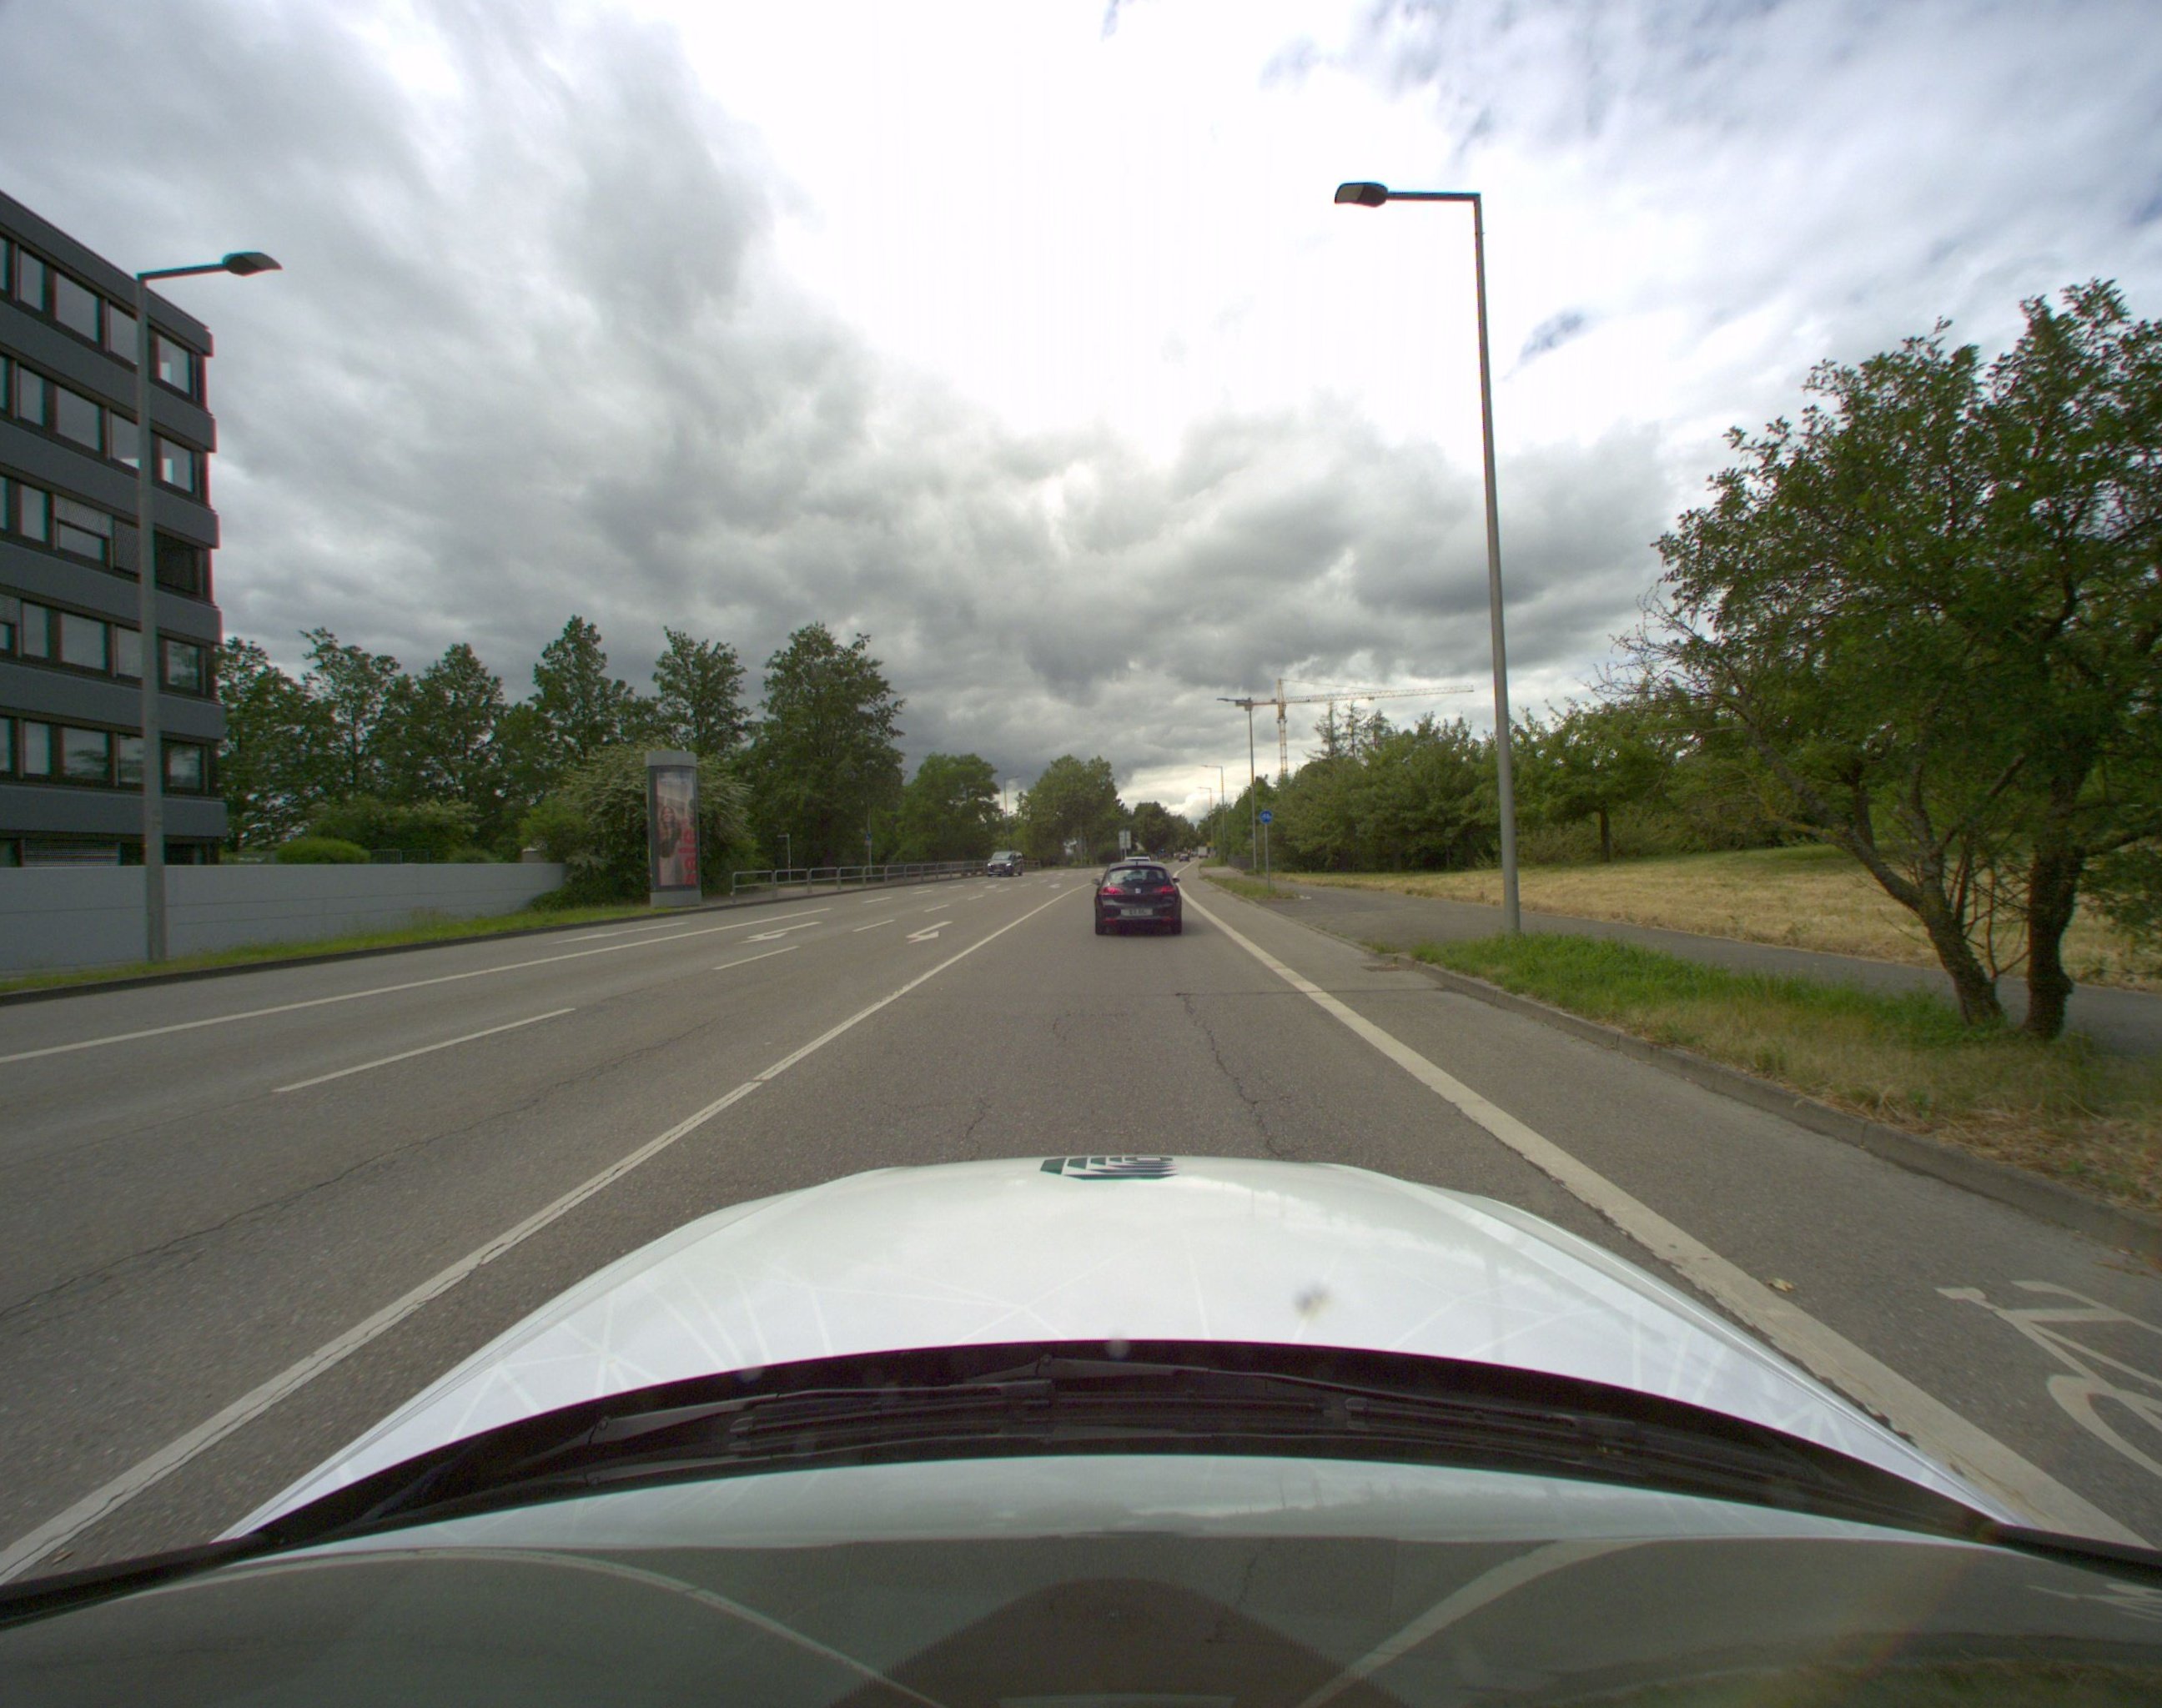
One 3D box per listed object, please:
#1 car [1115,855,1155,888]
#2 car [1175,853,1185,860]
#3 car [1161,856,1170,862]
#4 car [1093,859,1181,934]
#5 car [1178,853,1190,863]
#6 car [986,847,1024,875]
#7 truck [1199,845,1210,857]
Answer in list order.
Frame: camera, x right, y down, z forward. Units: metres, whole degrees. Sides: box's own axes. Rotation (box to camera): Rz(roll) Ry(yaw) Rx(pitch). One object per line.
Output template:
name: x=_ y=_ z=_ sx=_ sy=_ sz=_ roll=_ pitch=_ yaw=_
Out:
car: x=2.678 y=0.813 z=39.824 sx=1.837 sy=1.510 sz=3.817 roll=-1 pitch=0 yaw=5
car: x=28.138 y=0.782 z=231.195 sx=2.086 sy=1.896 sz=5.802 roll=-4 pitch=-1 yaw=11
car: x=21.106 y=1.195 z=203.268 sx=1.707 sy=1.395 sz=4.816 roll=-4 pitch=-1 yaw=11
car: x=1.227 y=0.818 z=17.362 sx=1.655 sy=1.401 sz=3.817 roll=-1 pitch=0 yaw=5
car: x=18.360 y=0.646 z=145.166 sx=1.869 sy=1.689 sz=4.227 roll=-2 pitch=0 yaw=11
car: x=-5.736 y=0.497 z=61.944 sx=2.009 sy=1.947 sz=5.371 roll=-2 pitch=0 yaw=4
truck: x=32.347 y=-0.650 z=213.919 sx=2.263 sy=3.104 sz=8.540 roll=0 pitch=0 yaw=13
